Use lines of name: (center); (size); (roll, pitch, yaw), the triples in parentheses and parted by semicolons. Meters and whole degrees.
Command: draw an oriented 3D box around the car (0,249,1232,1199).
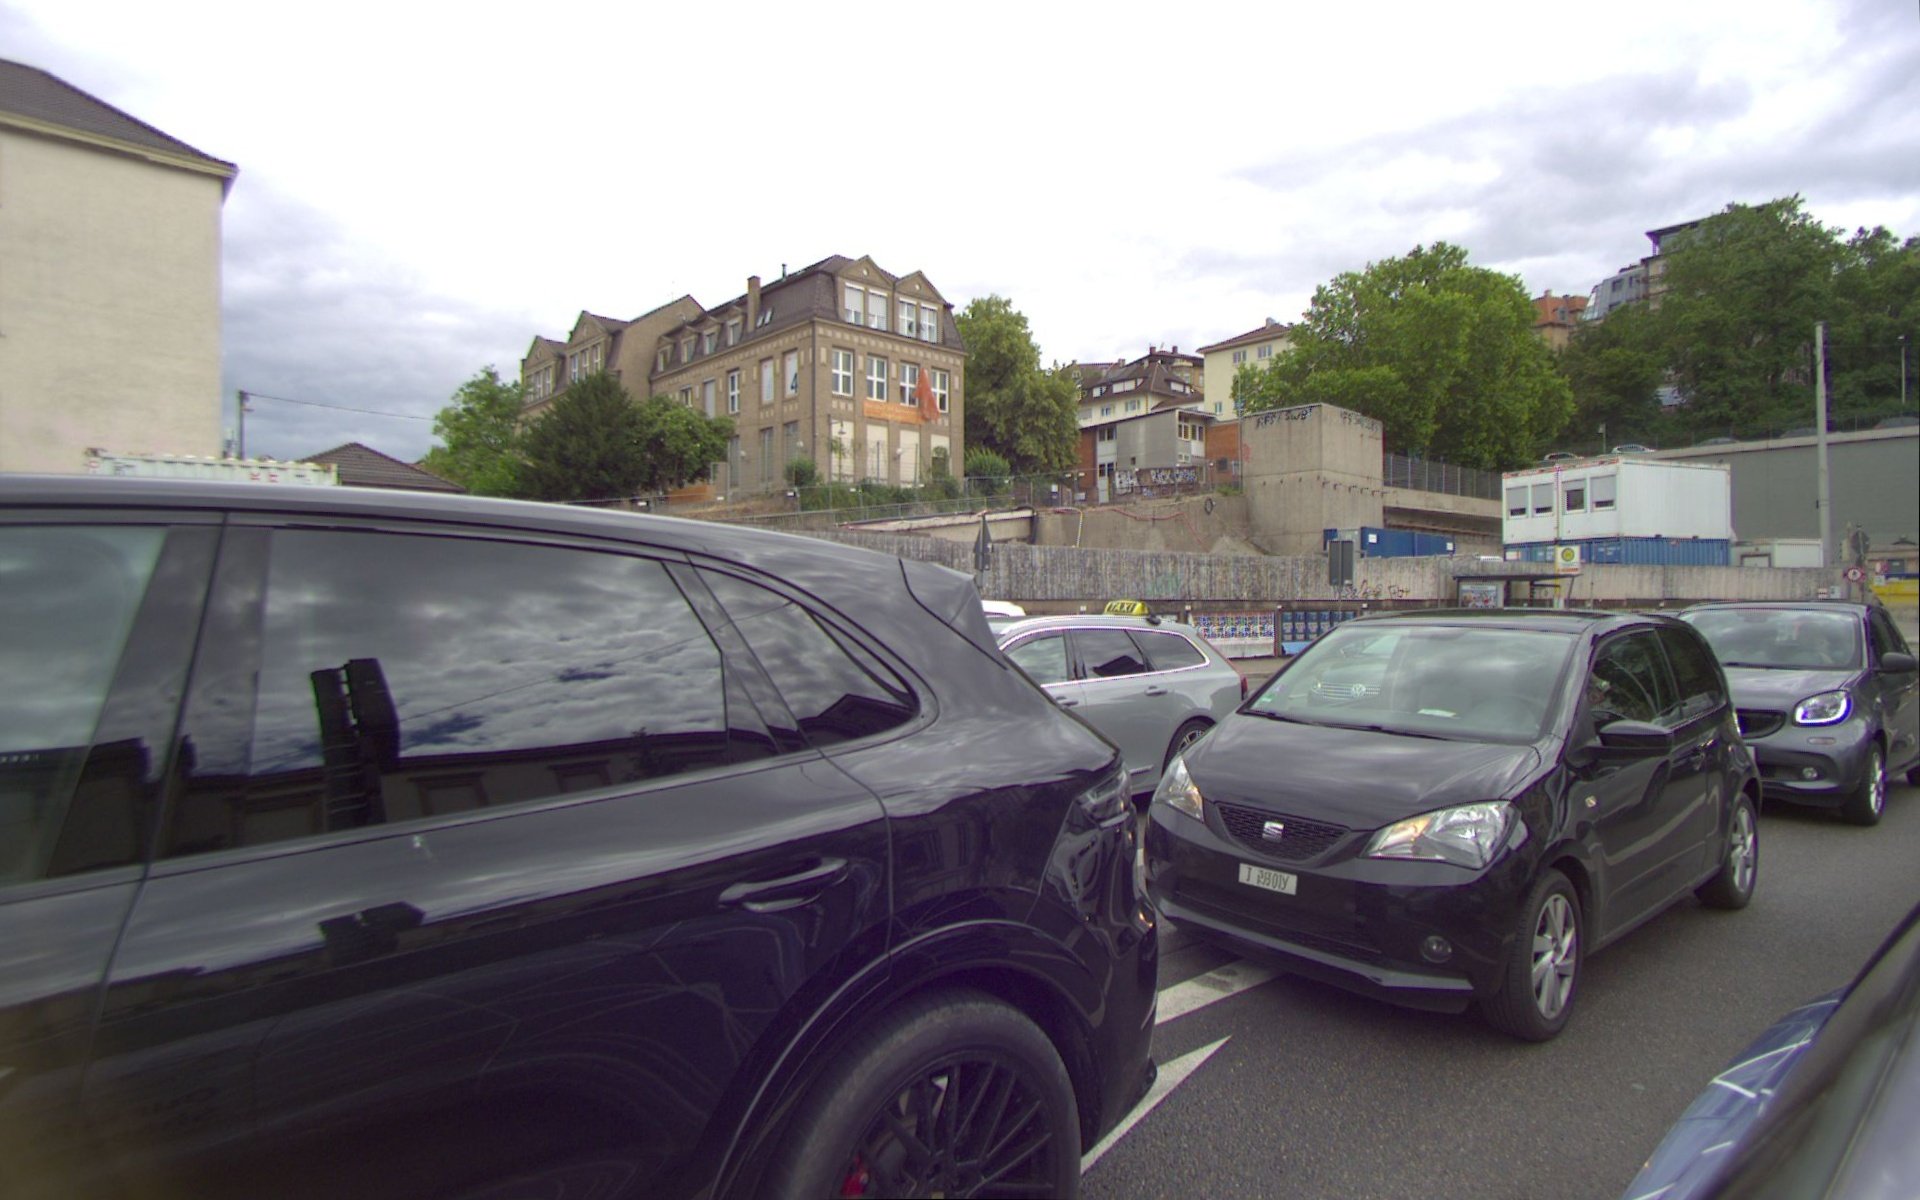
car: (-1.623, 0.523, 1.601); (4.406, 1.736, 1.827); (-1, 0, -41)

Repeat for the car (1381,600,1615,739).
car: (6.547, 0.738, 12.259); (2.667, 1.449, 1.664); (-1, 0, -41)

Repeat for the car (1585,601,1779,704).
car: (11.506, 0.738, 16.056); (3.740, 1.383, 1.679); (-1, 0, -41)

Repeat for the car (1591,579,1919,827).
car: (6.707, 0.653, 8.186); (3.511, 1.563, 1.720); (0, 0, -40)

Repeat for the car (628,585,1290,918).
car: (0.268, 0.723, 7.262); (4.725, 1.645, 1.827); (-1, 0, -41)

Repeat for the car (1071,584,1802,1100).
car: (2.435, 0.671, 4.792); (3.636, 1.476, 1.827); (-1, 0, -41)

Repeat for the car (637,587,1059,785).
car: (-1.009, 0.699, 10.479); (4.136, 1.645, 1.679); (-1, 0, -41)

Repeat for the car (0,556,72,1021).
car: (-5.305, 0.682, 3.039); (3.930, 1.645, 1.679); (-1, 0, -41)
